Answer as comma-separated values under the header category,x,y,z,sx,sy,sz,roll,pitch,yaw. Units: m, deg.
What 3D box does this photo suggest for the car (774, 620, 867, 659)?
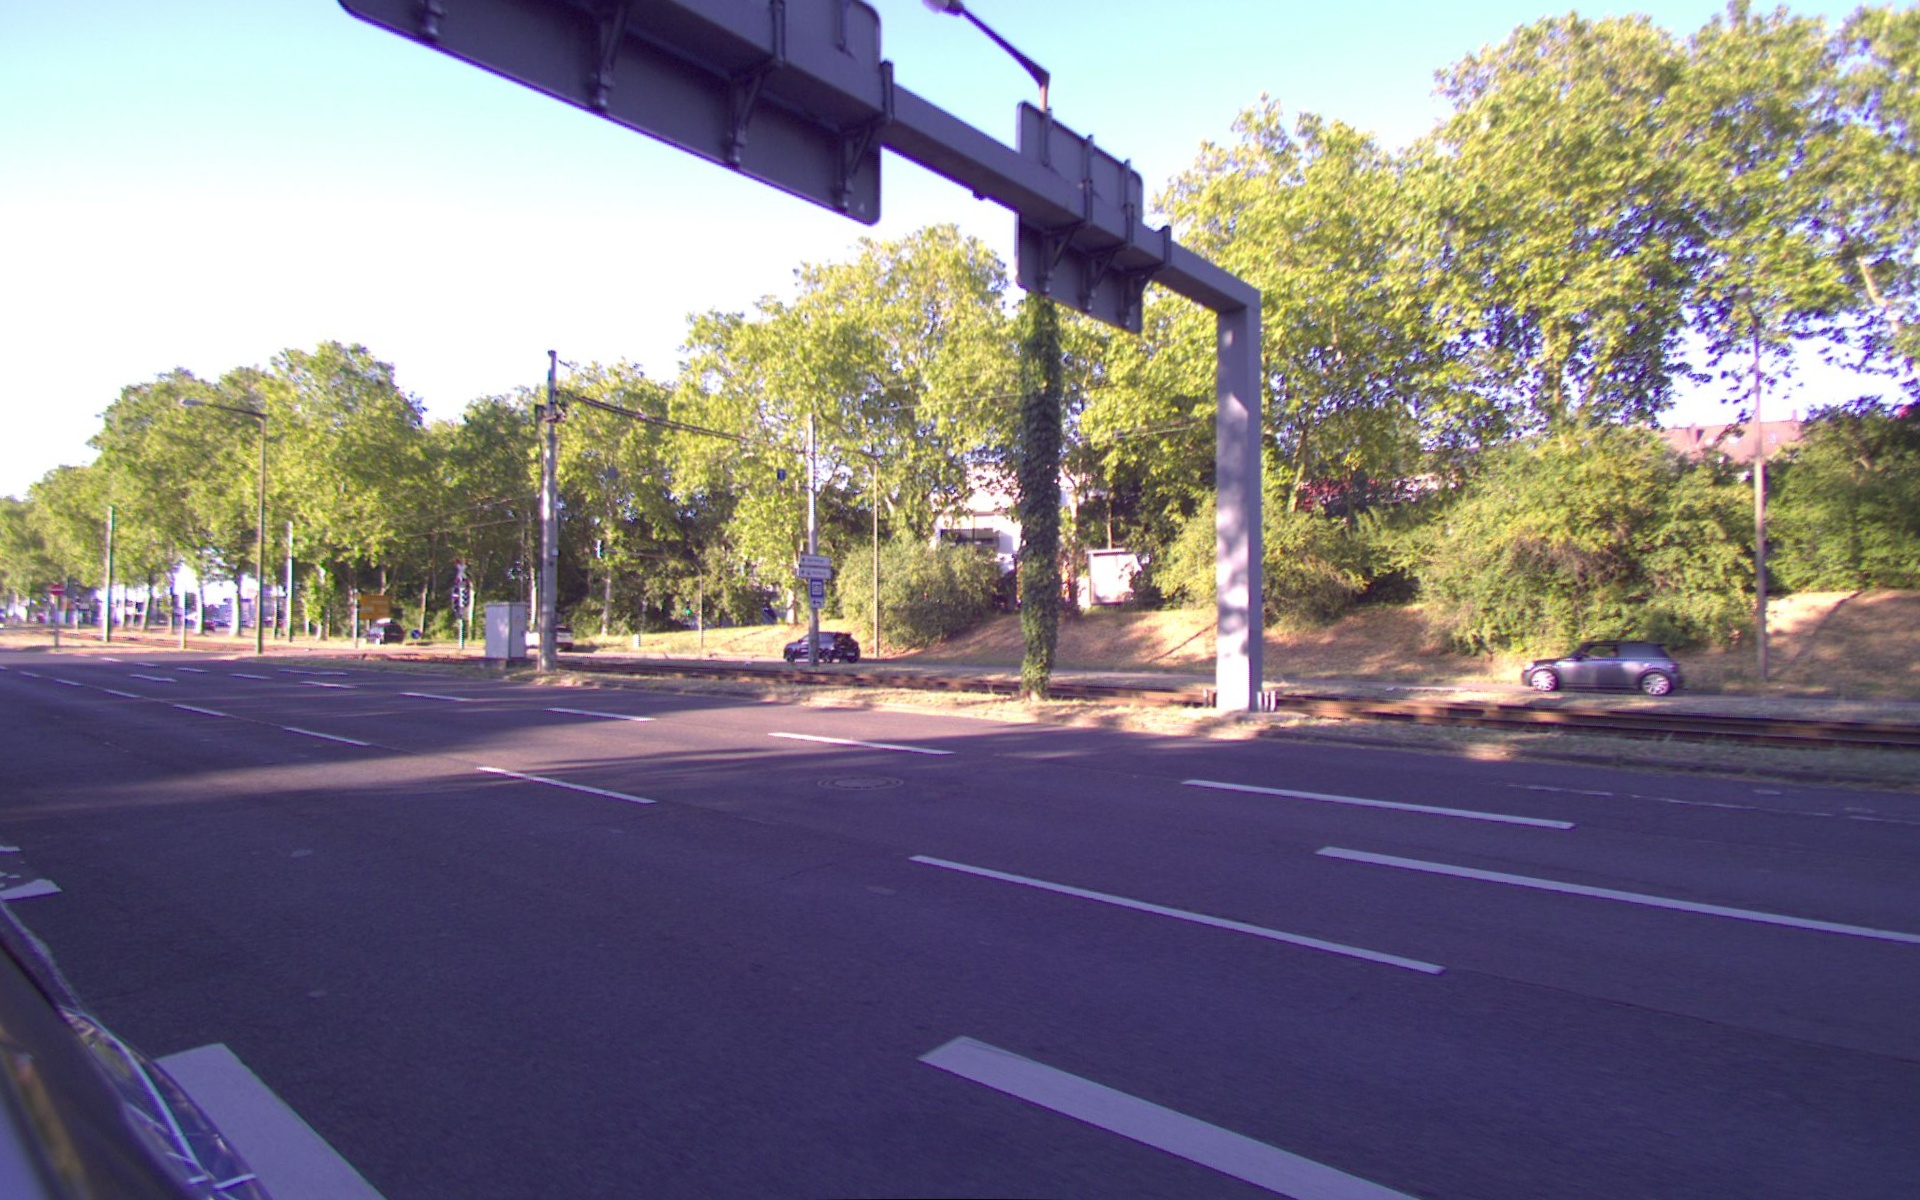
category,x,y,z,sx,sy,sz,roll,pitch,yaw
car,-6.371,1.761,45.970,4.189,1.694,1.972,-1,-3,42

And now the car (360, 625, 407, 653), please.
category,x,y,z,sx,sy,sz,roll,pitch,yaw
car,-45.630,3.070,80.110,4.189,2.082,1.972,-1,-3,42

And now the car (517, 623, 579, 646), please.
category,x,y,z,sx,sy,sz,roll,pitch,yaw
car,-26.129,2.172,64.144,4.188,1.451,1.973,-1,-3,41

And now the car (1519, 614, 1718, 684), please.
category,x,y,z,sx,sy,sz,roll,pitch,yaw
car,17.247,1.248,26.595,4.188,1.694,1.973,-1,-3,40
